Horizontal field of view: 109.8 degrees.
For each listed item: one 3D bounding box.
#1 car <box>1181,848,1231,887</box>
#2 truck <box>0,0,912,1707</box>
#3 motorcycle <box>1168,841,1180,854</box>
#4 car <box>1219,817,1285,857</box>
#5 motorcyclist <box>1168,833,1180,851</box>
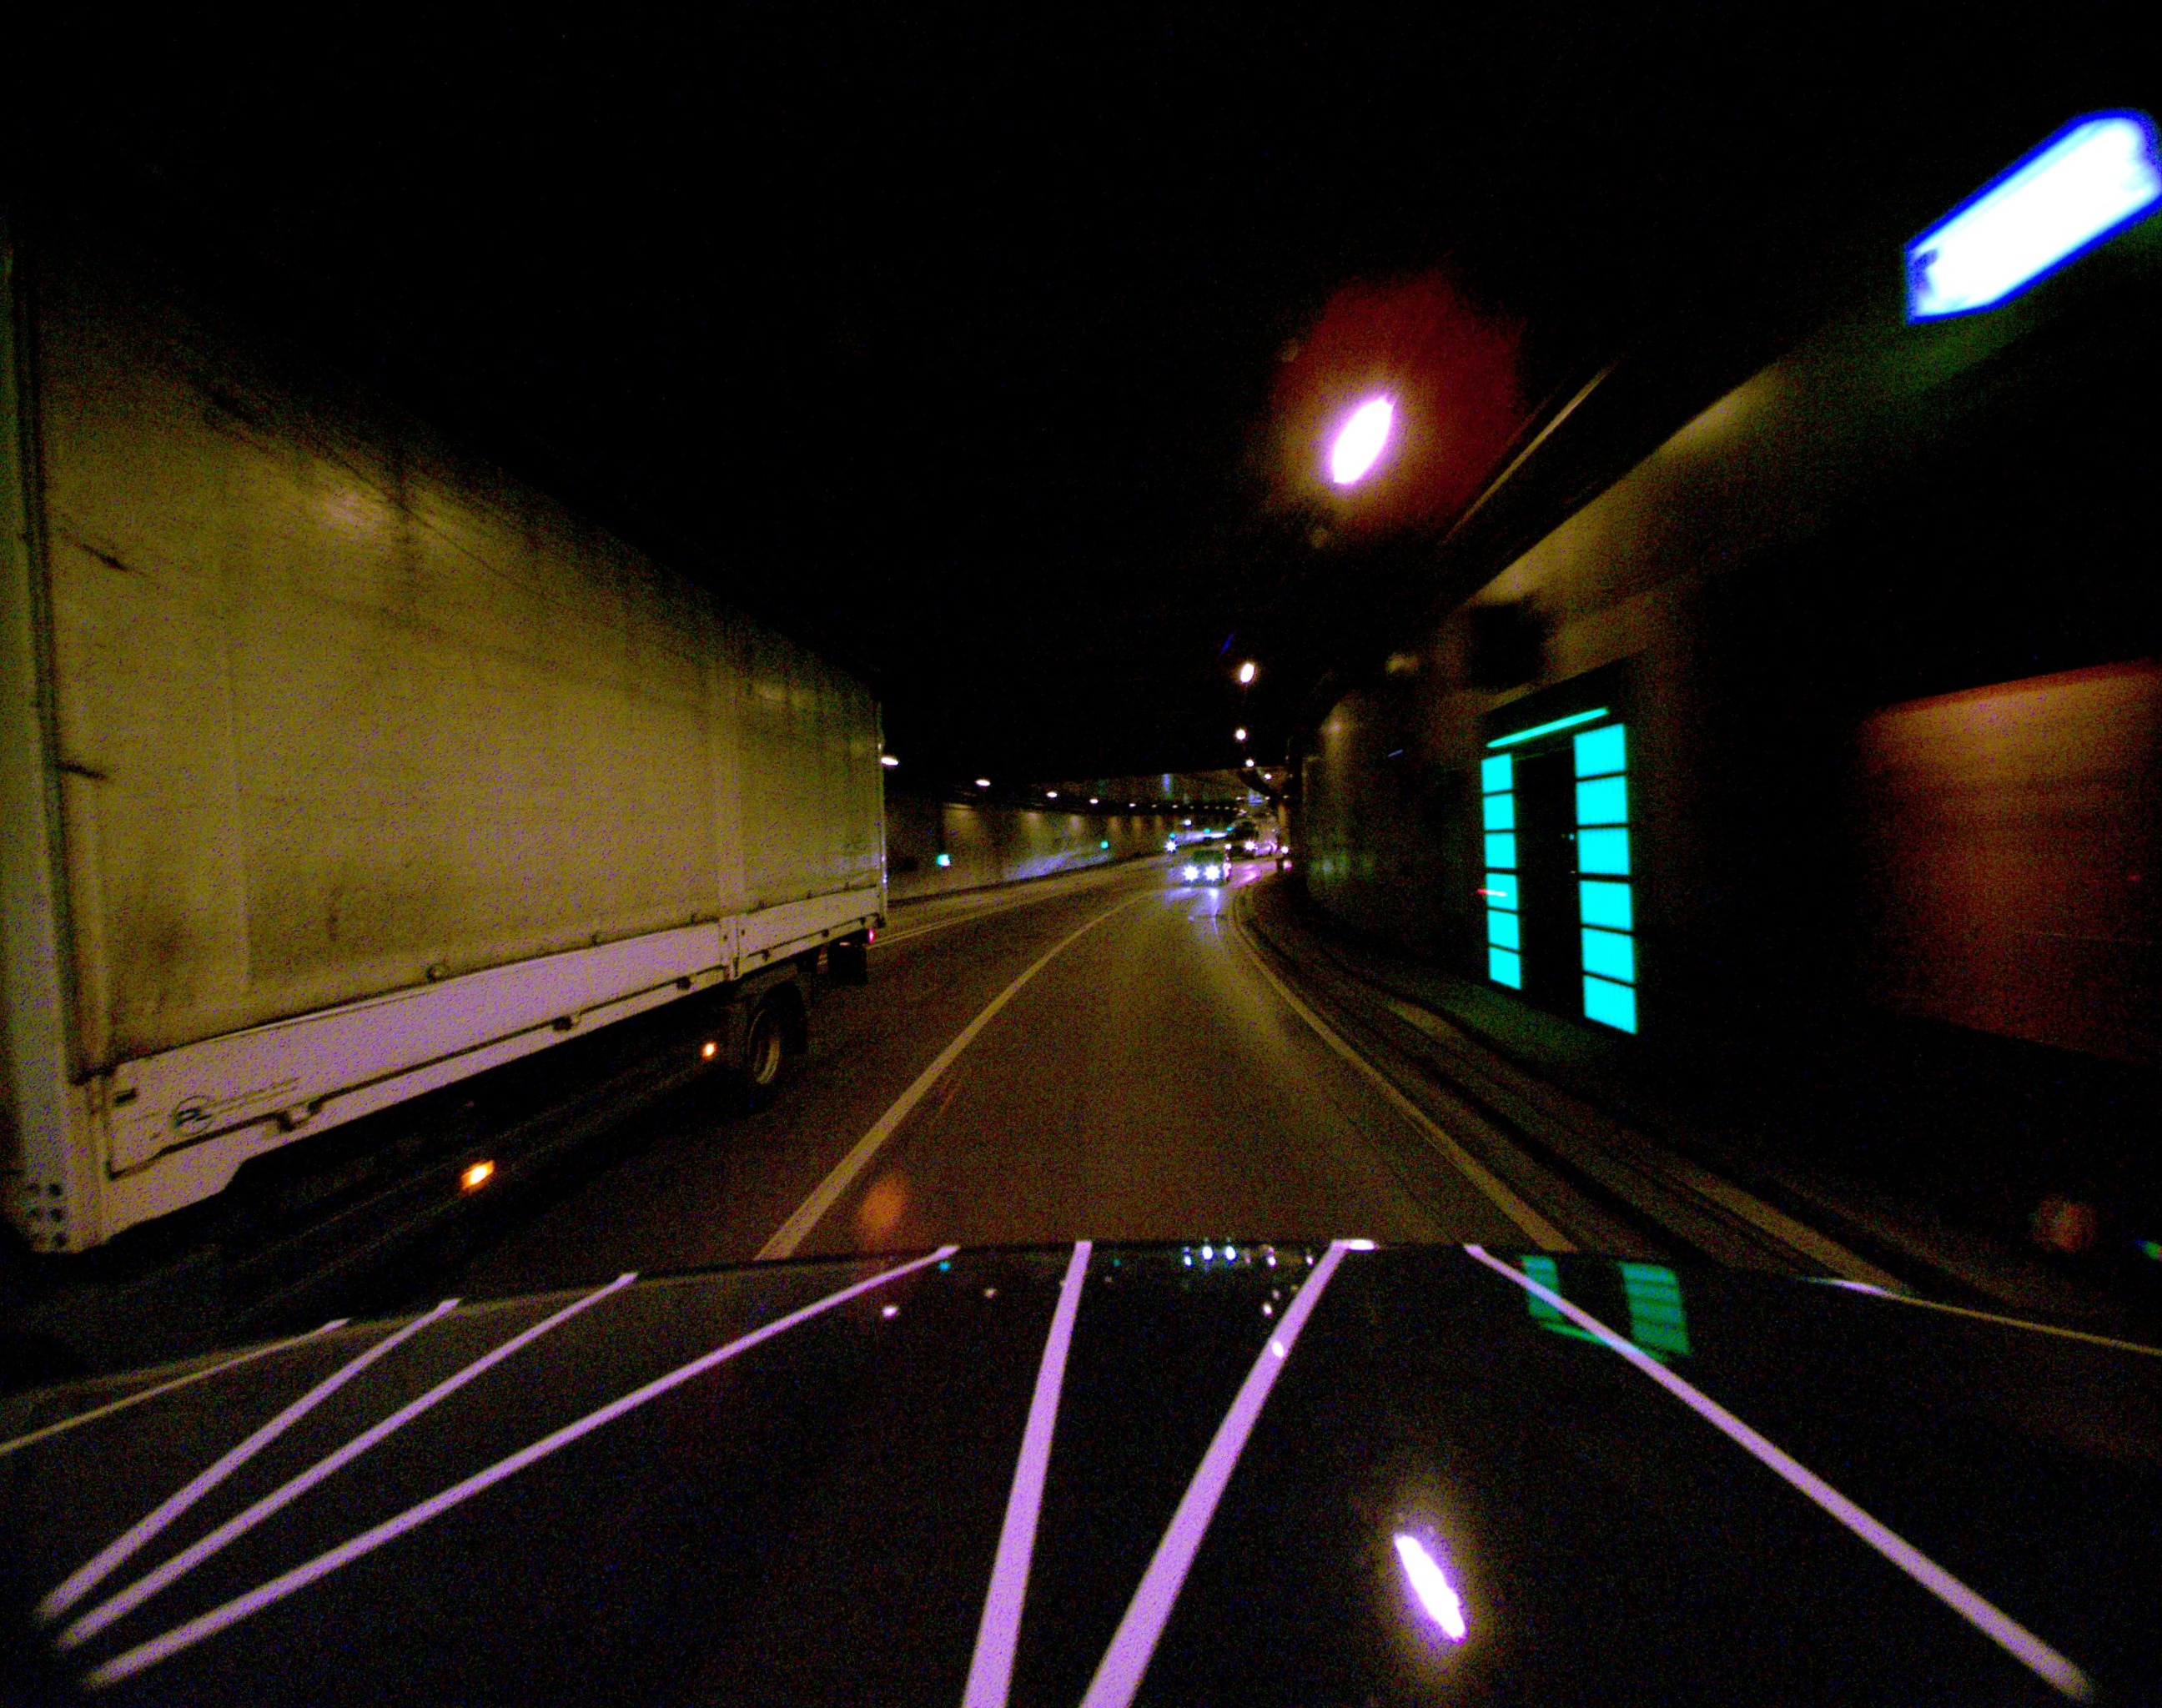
[{"bbox_3d":[5.478,0.538,32.910,1.720,1.455,4.004,-3,1,14],"label":"car"},{"bbox_3d":[-3.050,0.096,3.267,2.636,3.220,7.415,-3,1,2],"label":"truck"},{"bbox_3d":[8.044,-0.549,65.716,0.549,0.970,1.837,-4,1,22],"label":"motorcycle"},{"bbox_3d":[13.121,-1.355,57.922,2.555,2.752,7.363,-2,1,32],"label":"car"},{"bbox_3d":[8.024,-1.080,65.764,0.745,1.482,0.788,-4,2,22],"label":"motorcyclist"}]
